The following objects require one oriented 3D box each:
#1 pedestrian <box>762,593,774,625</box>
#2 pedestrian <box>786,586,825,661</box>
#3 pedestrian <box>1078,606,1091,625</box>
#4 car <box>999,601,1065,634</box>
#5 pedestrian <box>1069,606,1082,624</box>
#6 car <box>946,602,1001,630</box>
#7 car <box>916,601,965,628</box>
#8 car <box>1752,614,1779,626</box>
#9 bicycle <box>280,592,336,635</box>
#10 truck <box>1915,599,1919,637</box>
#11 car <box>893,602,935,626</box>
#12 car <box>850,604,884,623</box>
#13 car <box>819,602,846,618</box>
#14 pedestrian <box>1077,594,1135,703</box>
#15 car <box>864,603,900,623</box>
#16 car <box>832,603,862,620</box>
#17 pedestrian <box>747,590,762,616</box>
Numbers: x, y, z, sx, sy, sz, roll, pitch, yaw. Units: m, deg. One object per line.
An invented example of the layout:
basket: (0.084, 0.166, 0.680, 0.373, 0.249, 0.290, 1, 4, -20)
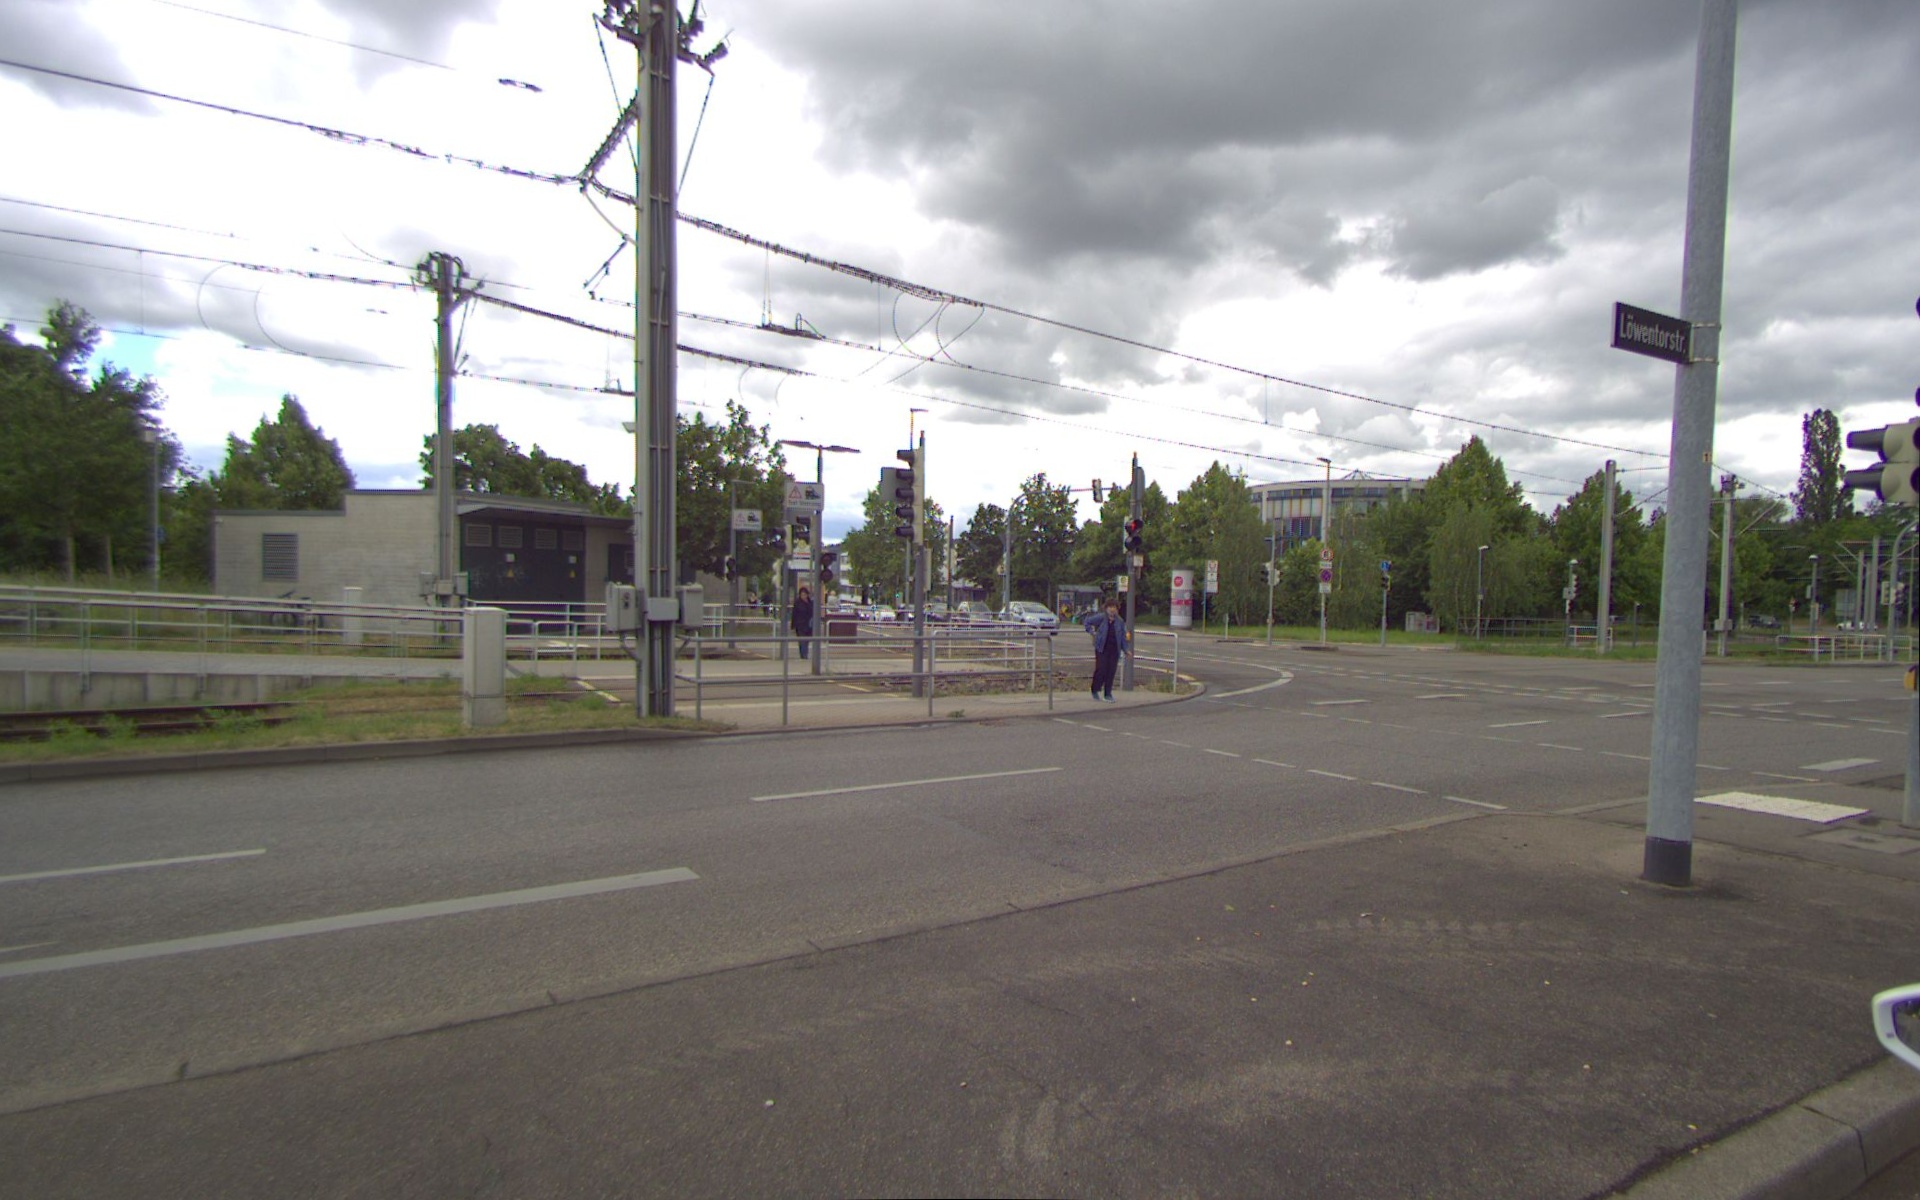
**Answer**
pedestrian: (-12.402, 0.578, 64.851, 0.738, 1.993, 0.795, 1, 0, -9)
pedestrian: (-3.427, 0.516, 22.219, 0.696, 1.628, 0.654, 1, 0, -22)
pedestrian: (8.902, 1.079, 71.637, 0.652, 1.322, 0.780, 1, 0, -16)
car: (3.304, 0.800, 46.807, 1.706, 1.456, 3.731, 1, 0, -20)
pedestrian: (8.355, 1.080, 72.901, 0.652, 1.321, 0.780, 1, 0, -16)
car: (0.691, 0.844, 53.667, 1.706, 1.456, 3.731, 1, 0, -20)
car: (-1.148, 0.816, 58.163, 1.706, 1.456, 3.731, 1, 0, -20)
car: (107.454, 2.627, 134.048, 1.752, 1.465, 4.524, -1, 0, 24)
bicycle: (-17.324, 0.347, 26.675, 1.452, 1.101, 0.492, 1, 0, 22)
truck: (93.608, 1.717, 94.045, 3.004, 3.810, 12.789, 2, 0, 30)
car: (-3.002, 0.888, 64.929, 1.706, 1.456, 3.731, 1, 0, -20)
car: (-7.417, 1.023, 79.682, 1.706, 1.456, 3.991, 1, 0, -20)
car: (-11.930, 0.962, 94.070, 1.706, 1.456, 3.731, 1, 0, -20)
pedestrian: (2.185, 0.705, 15.030, 0.701, 1.584, 0.533, 1, 1, -44)
car: (-5.811, 0.963, 74.779, 1.706, 1.456, 3.731, 1, 0, -20)
car: (-9.768, 0.987, 86.713, 1.706, 1.456, 3.731, 1, 0, -20)
pedestrian: (-13.173, 0.222, 64.417, 0.771, 1.649, 0.660, 1, 0, -22)
